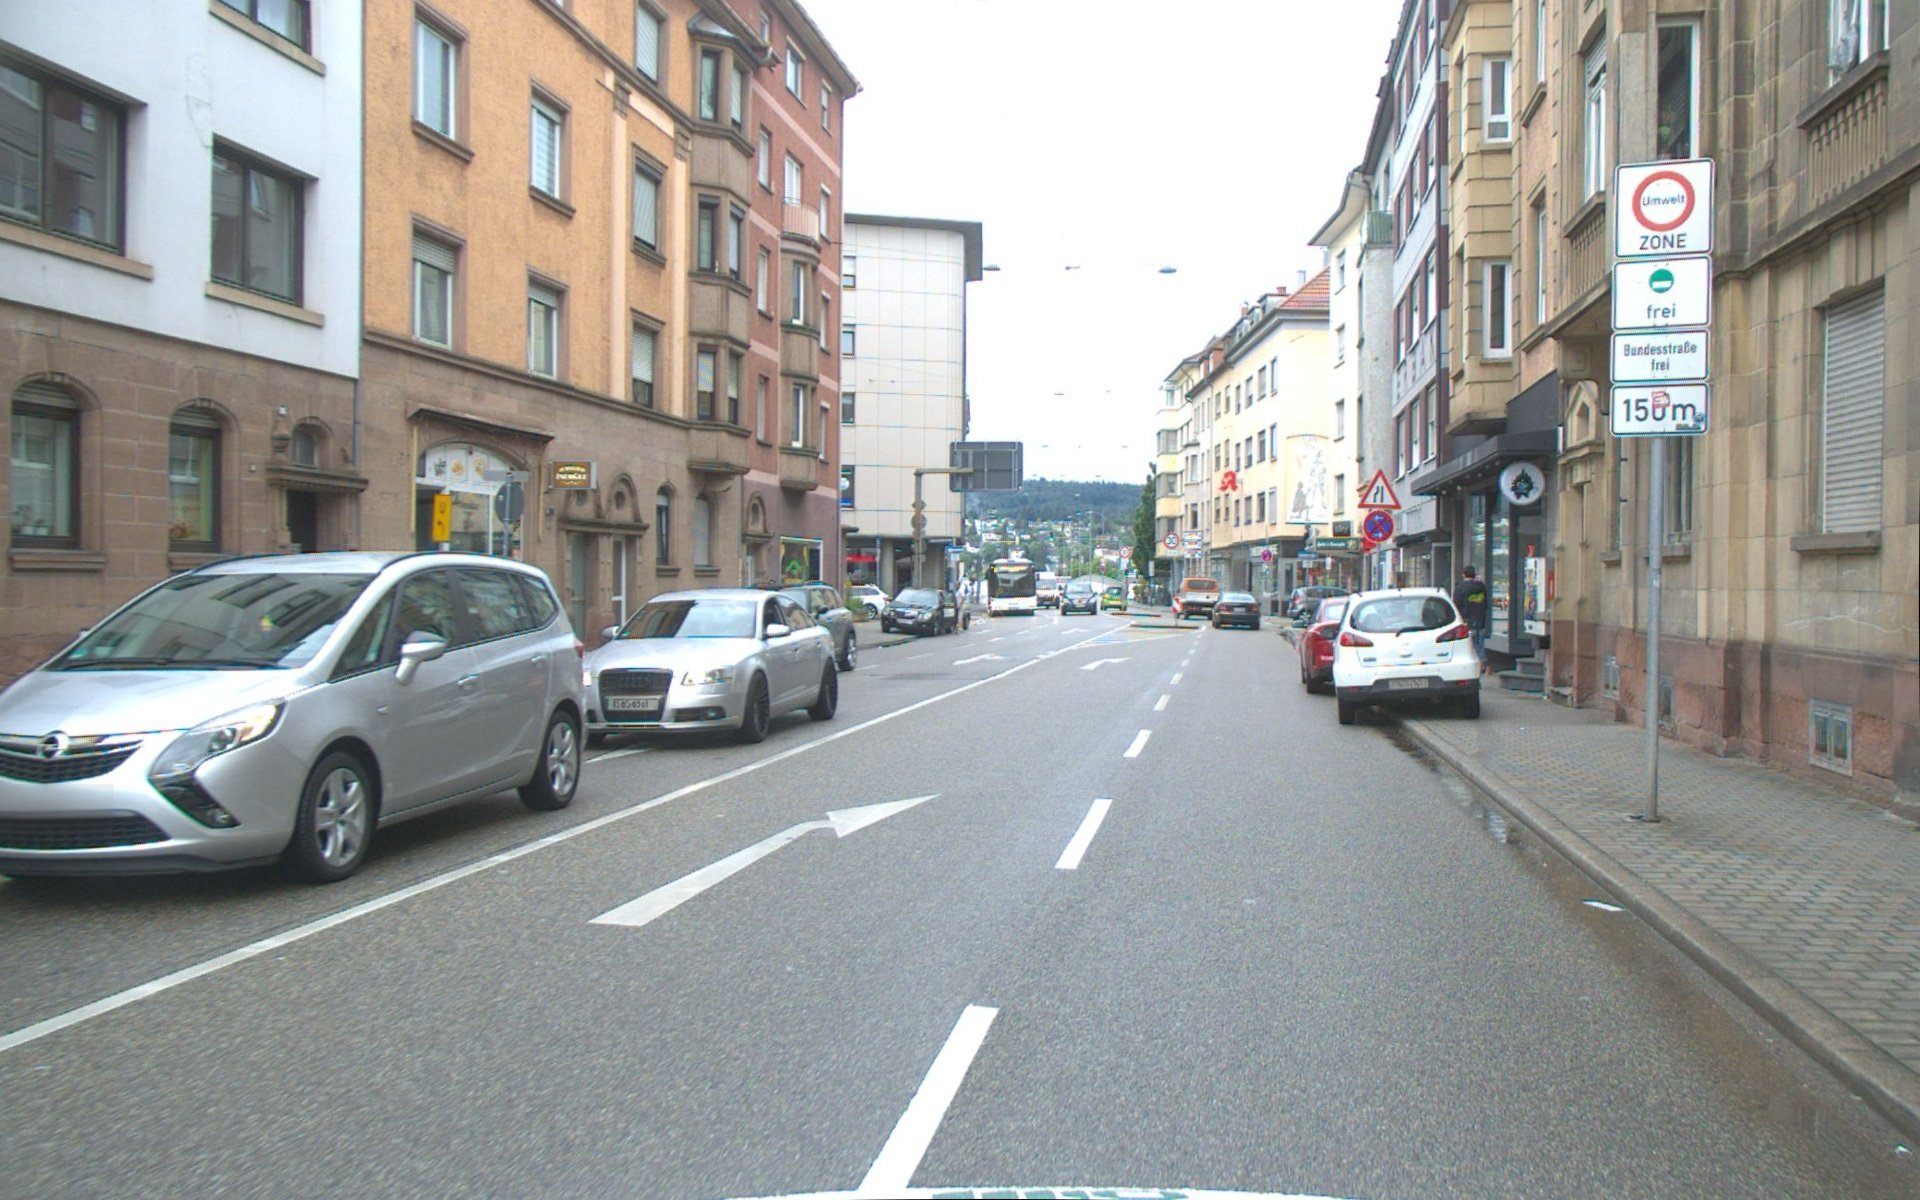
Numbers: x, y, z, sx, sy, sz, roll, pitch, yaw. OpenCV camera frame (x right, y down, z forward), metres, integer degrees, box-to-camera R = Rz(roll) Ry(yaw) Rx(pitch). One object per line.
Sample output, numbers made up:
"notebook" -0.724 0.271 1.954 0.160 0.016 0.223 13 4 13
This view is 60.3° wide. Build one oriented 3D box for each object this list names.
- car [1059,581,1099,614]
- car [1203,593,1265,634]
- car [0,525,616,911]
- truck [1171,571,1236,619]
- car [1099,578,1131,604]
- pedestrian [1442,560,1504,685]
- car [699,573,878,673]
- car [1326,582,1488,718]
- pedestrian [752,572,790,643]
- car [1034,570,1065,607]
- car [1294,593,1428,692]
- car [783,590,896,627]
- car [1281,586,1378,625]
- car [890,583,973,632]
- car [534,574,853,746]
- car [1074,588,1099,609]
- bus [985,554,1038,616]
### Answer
"car" 6.098 -0.117 85.219 1.718 1.680 4.307 0 0 0
"car" 10.309 0.493 62.358 1.718 1.505 4.000 0 0 1
"car" -3.640 0.498 9.281 1.901 1.611 4.524 0 0 8
"truck" 11.453 -0.239 78.142 2.350 2.167 5.315 0 0 0
"car" 10.021 -0.577 106.986 1.718 1.680 4.000 0 0 1
"pedestrian" 7.563 0.323 24.407 0.728 1.810 0.796 0 0 7
"car" -2.935 0.388 29.331 1.938 1.623 4.341 0 0 12
"car" 5.521 0.567 20.865 1.612 1.520 4.452 0 0 11
"pedestrian" -4.685 0.187 41.128 0.826 1.708 0.853 2 0 -3
"car" 6.145 -0.772 113.037 2.042 2.478 6.355 0 0 3
"car" 6.292 0.611 26.343 1.706 1.393 4.319 0 1 9
"car" -5.230 0.356 71.775 4.559 1.559 1.895 0 0 -20
"car" 15.566 0.223 69.841 3.745 1.601 1.937 0 0 3
"car" -0.867 0.224 53.607 1.811 1.422 4.797 3 1 9
"car" -2.506 0.527 16.805 1.901 1.496 4.563 0 0 8
"car" 10.332 -0.154 135.278 1.718 1.680 4.000 0 0 1
"bus" 2.734 -0.794 90.746 2.702 3.244 8.912 0 0 0
